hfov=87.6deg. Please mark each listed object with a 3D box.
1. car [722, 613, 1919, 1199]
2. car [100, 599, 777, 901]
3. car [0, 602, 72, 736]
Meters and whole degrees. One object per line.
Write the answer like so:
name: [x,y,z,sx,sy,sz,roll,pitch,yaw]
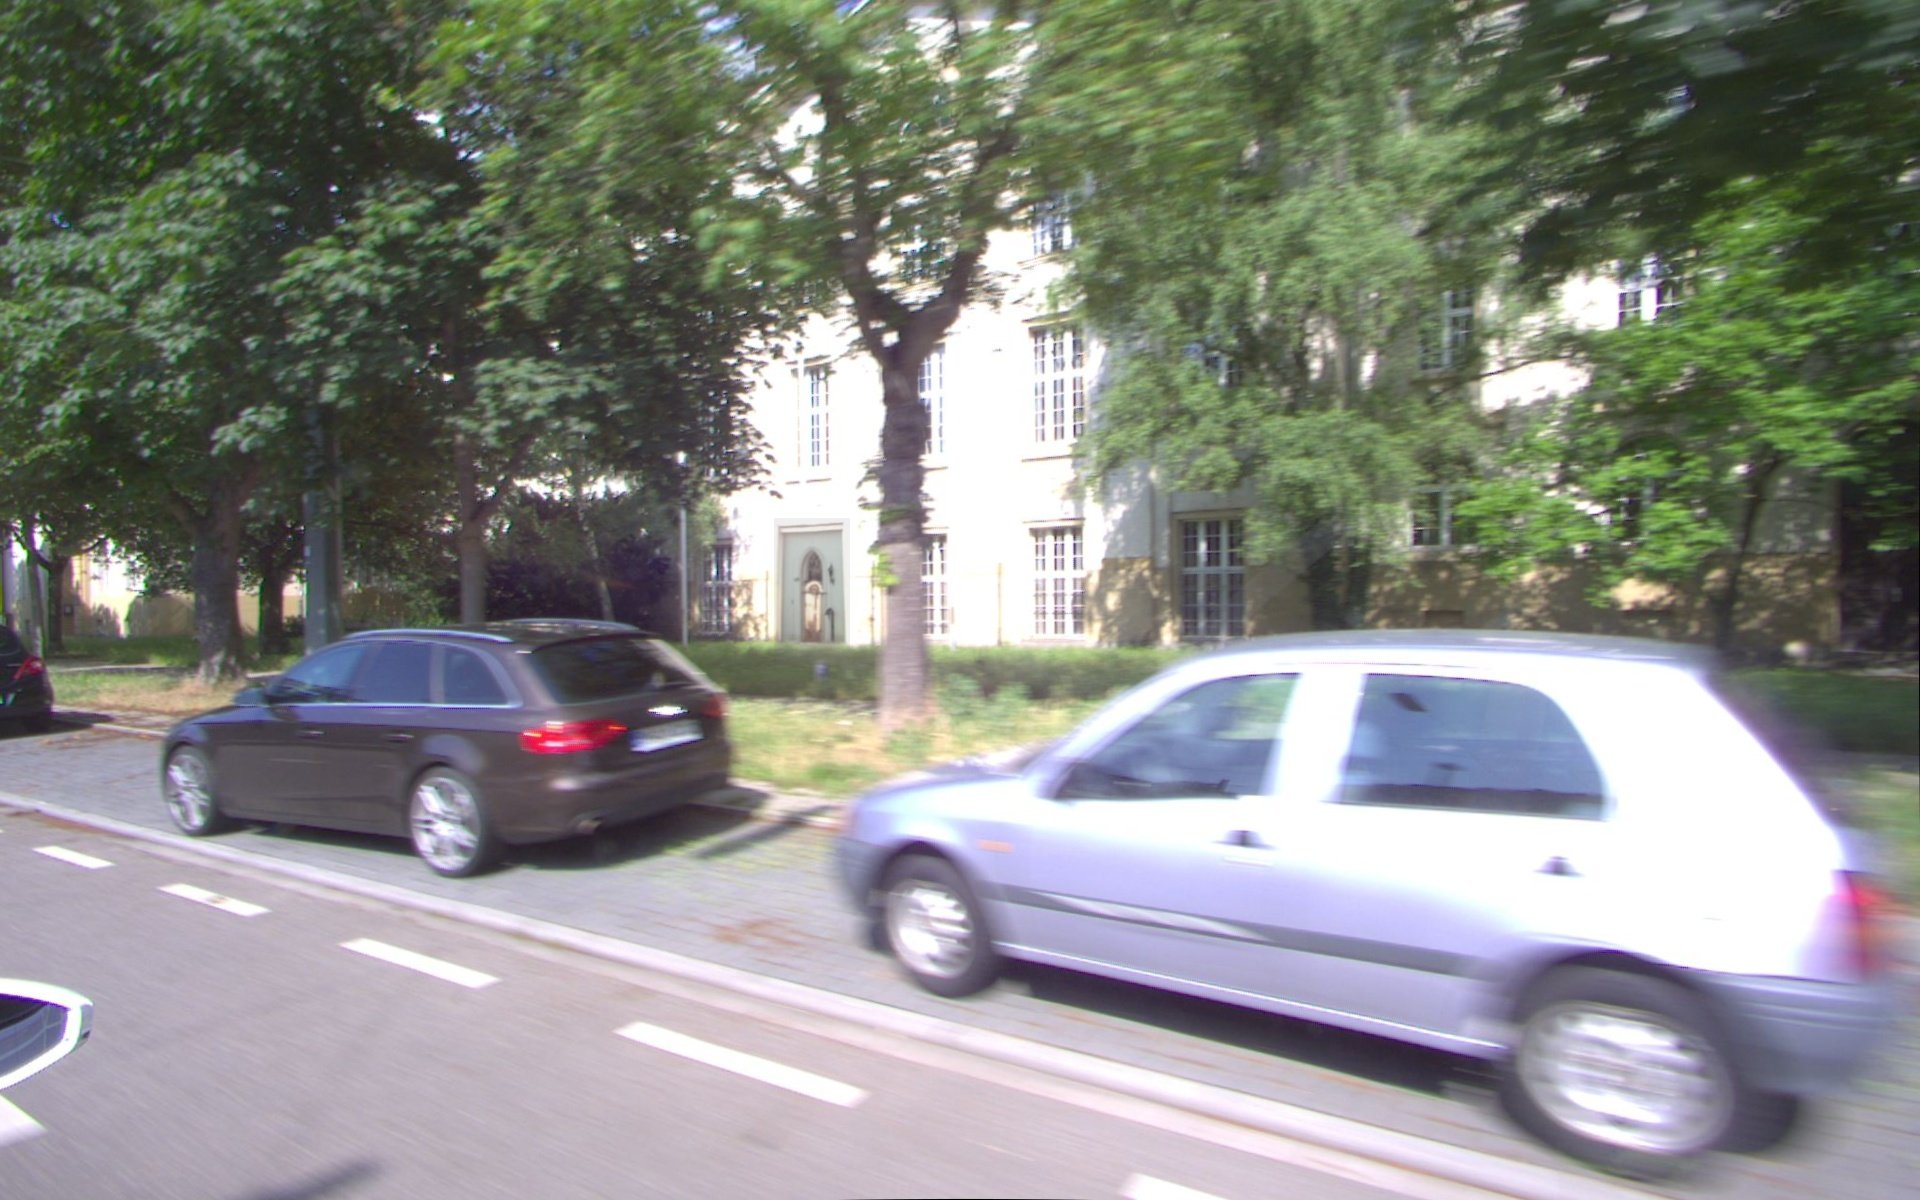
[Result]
car: [1.100,0.837,3.810,3.959,1.451,1.630,0,3,34]
car: [-3.778,0.829,7.062,4.757,1.487,1.828,-2,2,28]
car: [-13.515,0.884,13.046,4.245,1.583,1.686,-1,3,32]
